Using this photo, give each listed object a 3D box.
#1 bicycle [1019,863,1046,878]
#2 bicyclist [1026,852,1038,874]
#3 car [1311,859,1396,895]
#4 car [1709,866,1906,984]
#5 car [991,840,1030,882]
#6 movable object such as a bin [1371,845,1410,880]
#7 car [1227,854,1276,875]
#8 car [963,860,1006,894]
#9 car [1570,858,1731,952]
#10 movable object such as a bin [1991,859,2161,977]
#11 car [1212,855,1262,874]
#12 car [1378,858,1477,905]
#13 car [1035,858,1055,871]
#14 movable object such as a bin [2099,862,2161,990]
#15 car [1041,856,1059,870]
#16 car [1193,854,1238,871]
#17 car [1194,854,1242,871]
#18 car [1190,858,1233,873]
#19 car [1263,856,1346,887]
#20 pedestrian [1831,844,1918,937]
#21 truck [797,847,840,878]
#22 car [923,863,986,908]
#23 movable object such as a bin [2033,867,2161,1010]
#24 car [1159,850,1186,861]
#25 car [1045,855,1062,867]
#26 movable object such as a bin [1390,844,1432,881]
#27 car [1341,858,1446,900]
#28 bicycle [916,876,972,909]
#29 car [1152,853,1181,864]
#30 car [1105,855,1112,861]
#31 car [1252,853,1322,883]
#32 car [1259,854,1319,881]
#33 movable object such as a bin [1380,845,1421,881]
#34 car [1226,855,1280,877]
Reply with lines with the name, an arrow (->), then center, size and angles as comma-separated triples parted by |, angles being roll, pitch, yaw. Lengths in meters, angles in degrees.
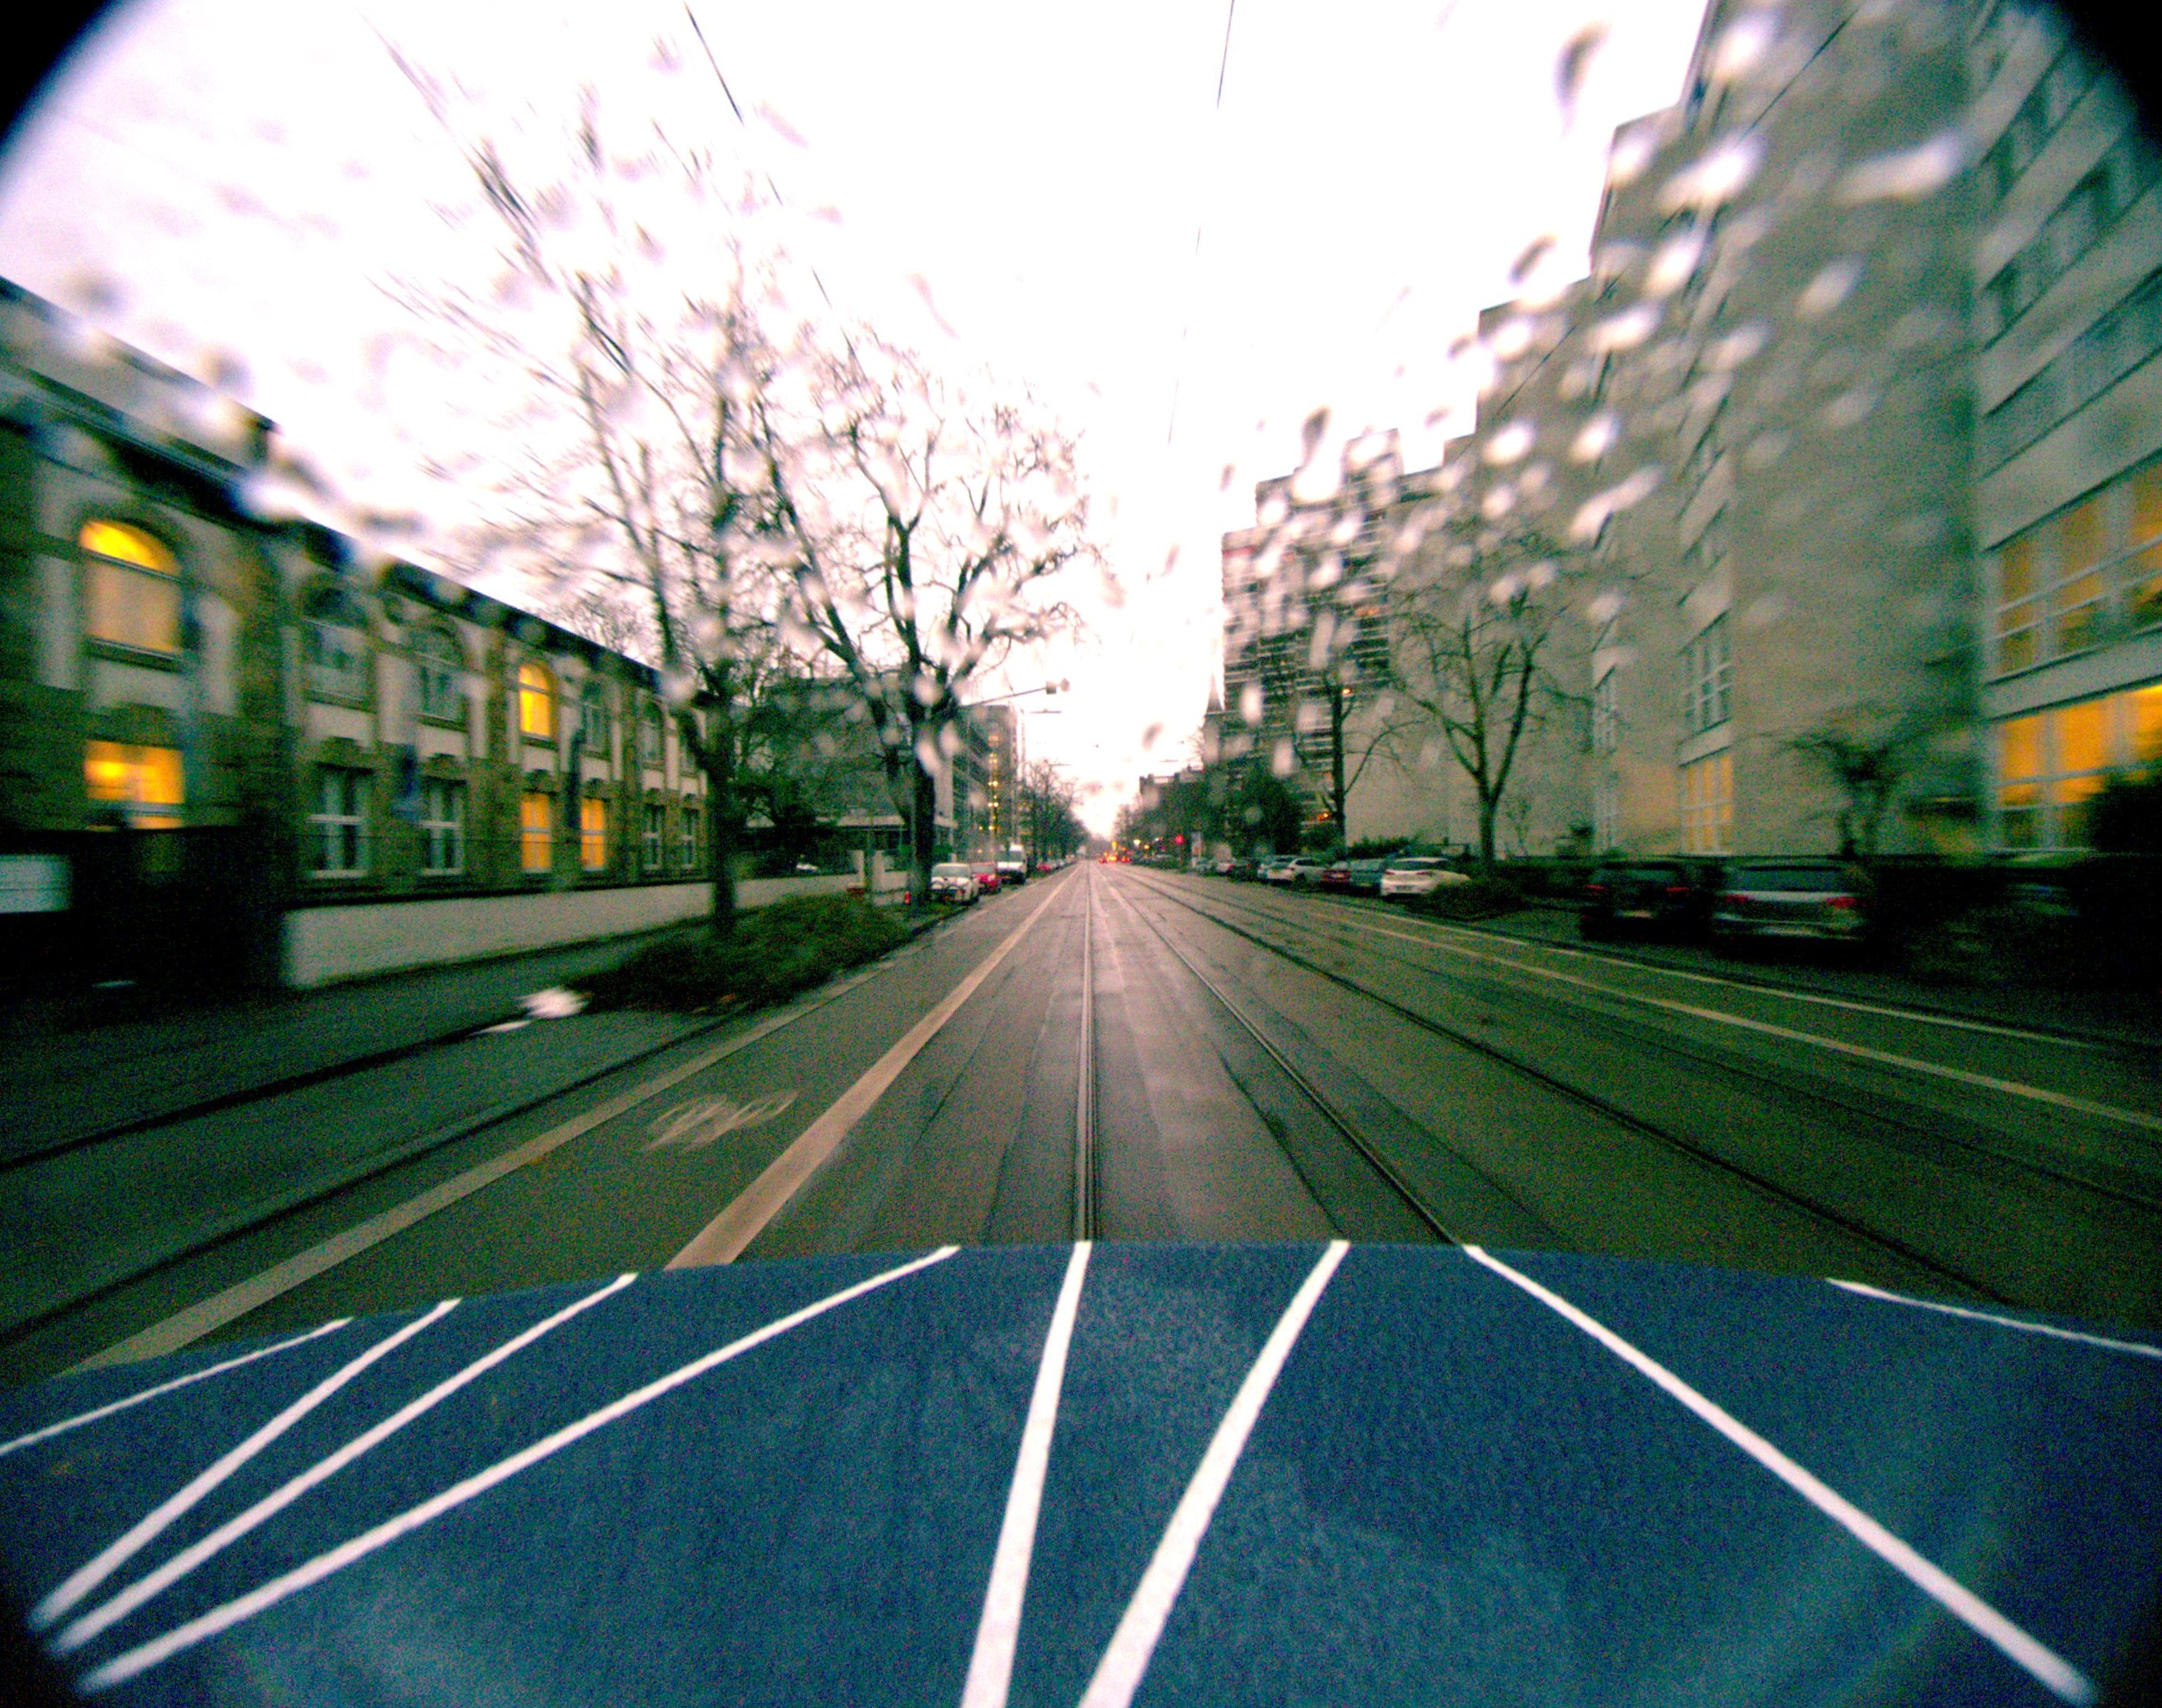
bicycle -> -3.632, 1.203, 56.519 | 1.895, 1.126, 0.730 | 0, 0, -15
bicyclist -> -3.624, 0.661, 56.525 | 0.771, 1.679, 0.706 | 0, 0, -15
car -> 11.355, 0.905, 31.483 | 1.745, 1.344, 4.357 | 1, 0, 43
car -> 11.000, 0.911, 11.418 | 4.008, 1.419, 1.843 | 0, -1, -42
car -> -4.361, 0.464, 47.936 | 2.130, 2.472, 5.438 | 0, -1, -2
movable object such as a bin -> 16.841, 0.488, 41.411 | 1.573, 1.849, 1.318 | 0, -1, 2
car -> 12.317, 0.744, 54.906 | 3.458, 1.484, 1.725 | 0, -1, -41
car -> -4.546, 1.064, 36.232 | 1.647, 1.514, 3.572 | -1, 0, -2
car -> 10.780, 0.838, 14.279 | 4.008, 1.462, 1.826 | 0, 0, -44
movable object such as a bin -> 13.339, 0.787, 9.942 | 1.265, 1.442, 1.326 | 0, 0, 8
car -> 11.935, 0.778, 57.920 | 1.788, 1.437, 4.009 | -1, -1, 45
car -> 11.435, 0.857, 24.967 | 3.861, 1.415, 1.732 | 0, -1, -45
car -> -3.834, 1.087, 81.759 | 1.753, 1.379, 3.737 | 0, -1, 2
movable object such as a bin -> 12.799, 0.818, 8.695 | 1.093, 1.442, 1.110 | 0, 0, -21
car -> -3.656, 1.062, 90.515 | 1.753, 1.574, 3.737 | 0, -1, 2
car -> 12.024, 0.778, 67.977 | 4.008, 1.454, 1.851 | 0, -1, -41
car -> 11.555, 0.739, 64.111 | 4.008, 1.370, 1.851 | 0, -1, -41
car -> 12.246, 1.072, 71.405 | 4.008, 1.391, 1.851 | 0, -1, -41
car -> 11.157, 0.840, 37.871 | 4.007, 1.435, 1.732 | 0, 1, -32
pedestrian -> 14.742, 0.662, 14.147 | 0.598, 1.667, 0.973 | 0, 0, 1
truck -> -23.277, 0.674, 67.633 | 2.132, 2.573, 7.075 | 0, 1, -6
car -> -4.501, 1.081, 27.527 | 1.696, 1.511, 3.637 | 0, 0, 0
movable object such as a bin -> 11.455, 0.865, 8.219 | 1.268, 1.442, 1.110 | 0, 0, -21
car -> 13.485, 0.218, 112.224 | 3.995, 1.477, 1.673 | 0, 0, 6
car -> -3.620, 0.977, 101.355 | 1.866, 1.584, 4.001 | 0, -1, 3
movable object such as a bin -> 16.752, 0.452, 38.615 | 1.573, 1.849, 1.318 | 0, -1, 2
car -> 11.817, 0.874, 28.649 | 4.007, 1.455, 1.732 | 0, 1, -34
bicycle -> -4.499, 1.264, 25.035 | 1.717, 1.064, 0.663 | 0, 0, 1
car -> 12.244, 0.637, 108.566 | 3.995, 1.477, 1.673 | 0, 0, 6
car -> 6.960, 1.050, 195.364 | 1.751, 1.535, 4.296 | 0, -1, 2
car -> 11.191, 0.723, 41.143 | 4.008, 1.554, 1.732 | 0, -1, -41
car -> 12.354, 0.785, 45.042 | 3.885, 1.542, 1.688 | 0, -1, -44
movable object such as a bin -> 16.812, 0.474, 40.013 | 1.573, 1.849, 1.394 | 0, -1, 2
car -> 11.665, 0.800, 51.466 | 3.862, 1.484, 1.691 | 0, -1, -43
